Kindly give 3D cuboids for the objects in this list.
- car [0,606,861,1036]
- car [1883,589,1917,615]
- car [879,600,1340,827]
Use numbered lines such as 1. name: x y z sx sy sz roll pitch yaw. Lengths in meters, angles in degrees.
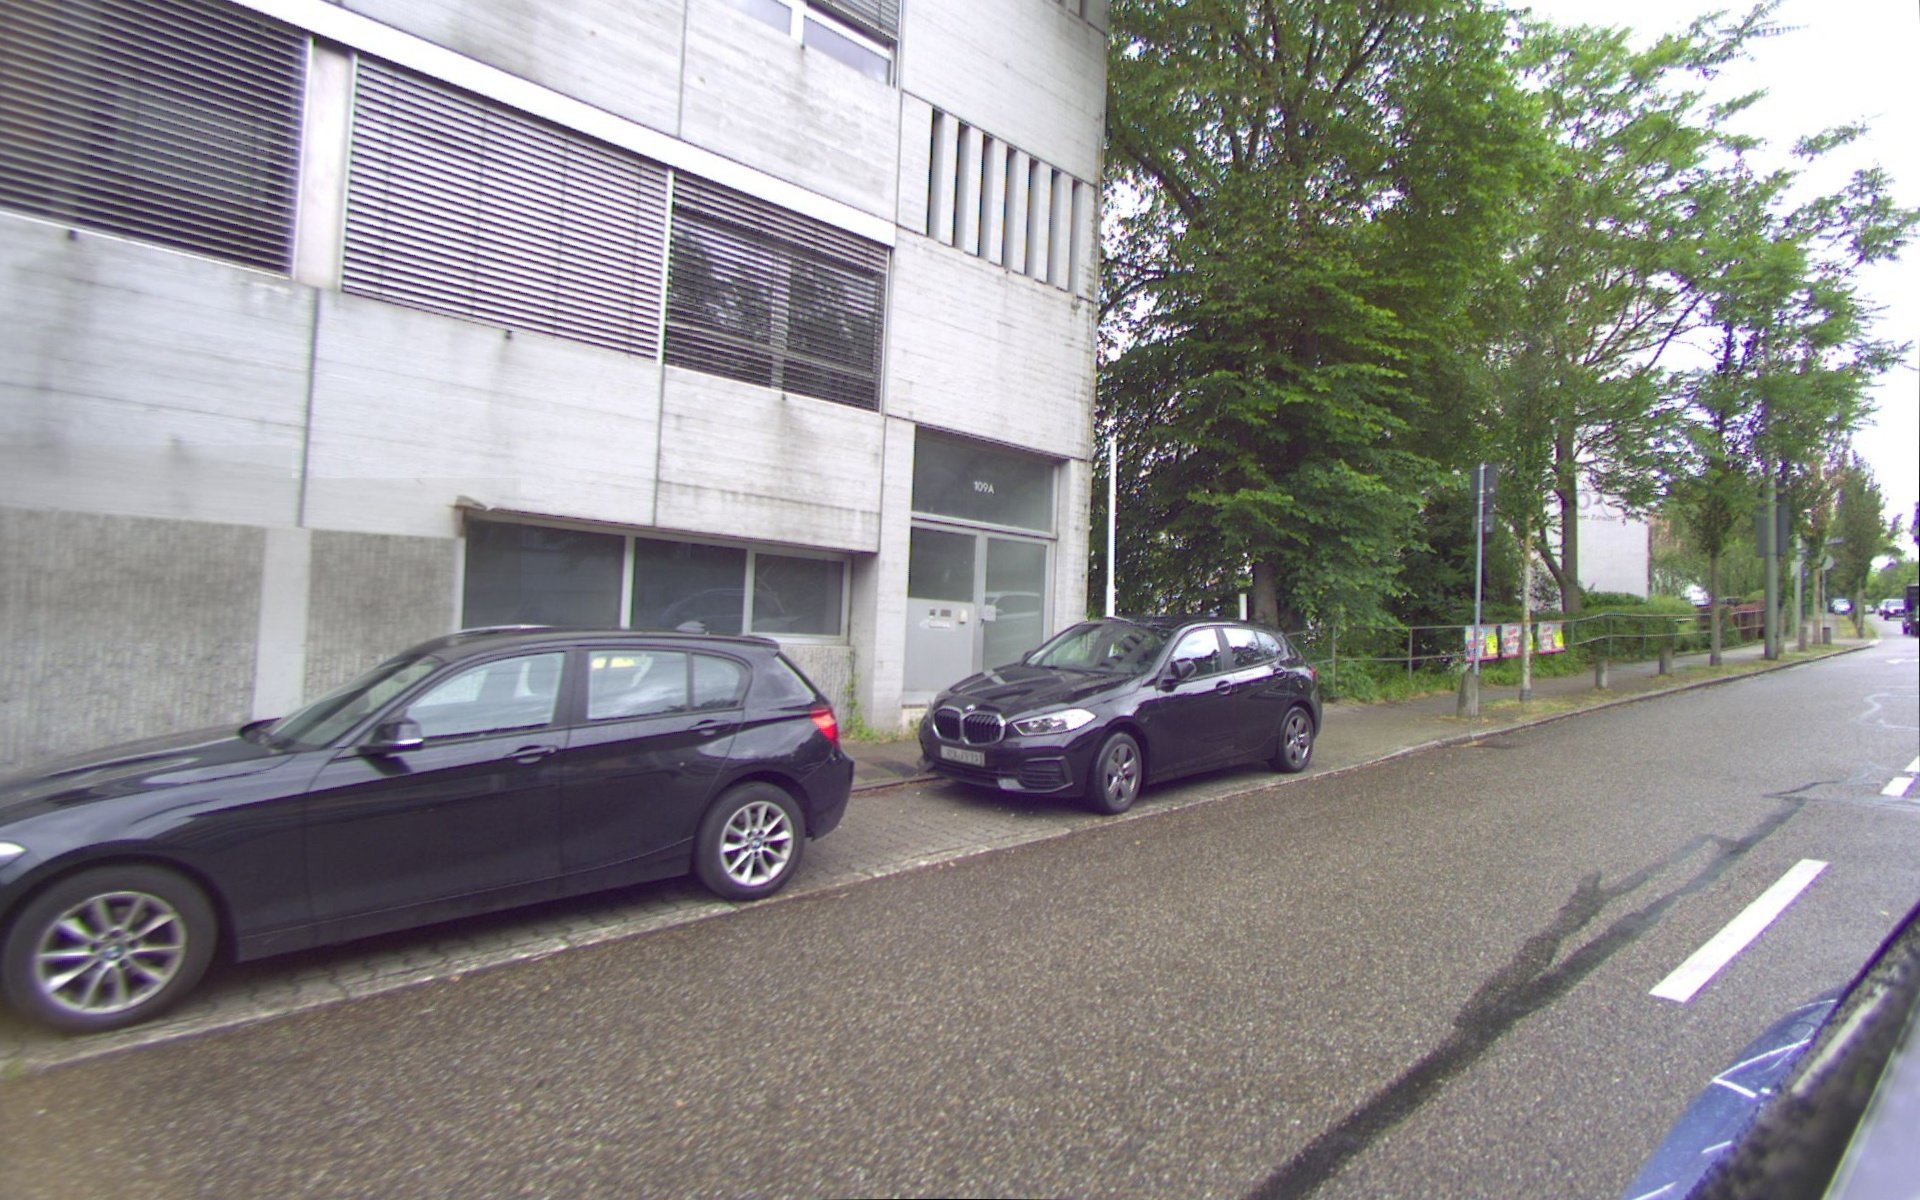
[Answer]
1. car: -2.663 0.786 5.188 4.022 1.462 1.711 0 0 -38
2. car: 77.564 0.168 83.562 1.992 2.039 3.939 0 1 42
3. car: 1.469 0.768 8.909 4.084 1.462 1.842 0 2 -42
